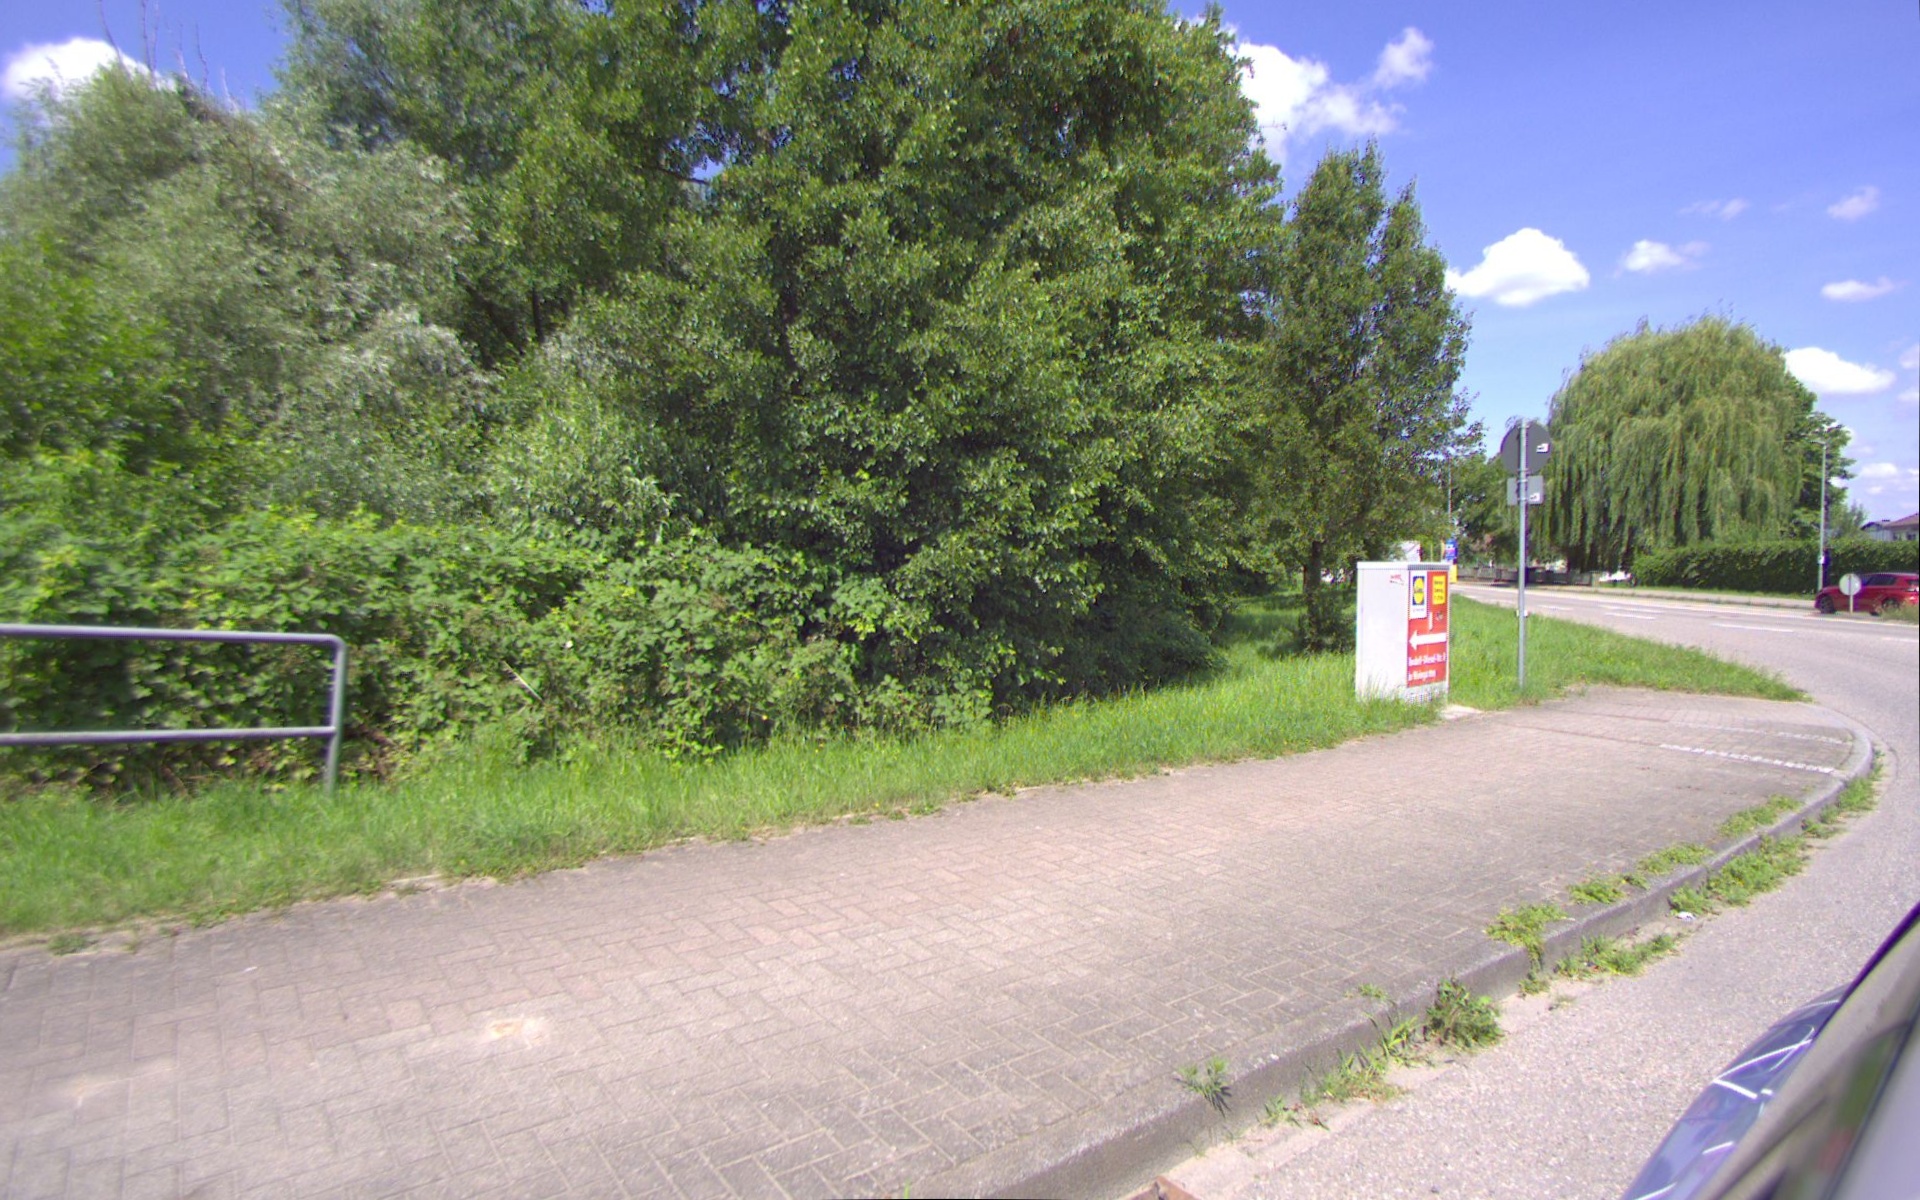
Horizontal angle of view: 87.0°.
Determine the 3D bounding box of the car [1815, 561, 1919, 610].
[{"bbox_3d":[29.938,-0.482,32.300,1.853,1.482,4.381,1,2,6],"label":"car"}]
